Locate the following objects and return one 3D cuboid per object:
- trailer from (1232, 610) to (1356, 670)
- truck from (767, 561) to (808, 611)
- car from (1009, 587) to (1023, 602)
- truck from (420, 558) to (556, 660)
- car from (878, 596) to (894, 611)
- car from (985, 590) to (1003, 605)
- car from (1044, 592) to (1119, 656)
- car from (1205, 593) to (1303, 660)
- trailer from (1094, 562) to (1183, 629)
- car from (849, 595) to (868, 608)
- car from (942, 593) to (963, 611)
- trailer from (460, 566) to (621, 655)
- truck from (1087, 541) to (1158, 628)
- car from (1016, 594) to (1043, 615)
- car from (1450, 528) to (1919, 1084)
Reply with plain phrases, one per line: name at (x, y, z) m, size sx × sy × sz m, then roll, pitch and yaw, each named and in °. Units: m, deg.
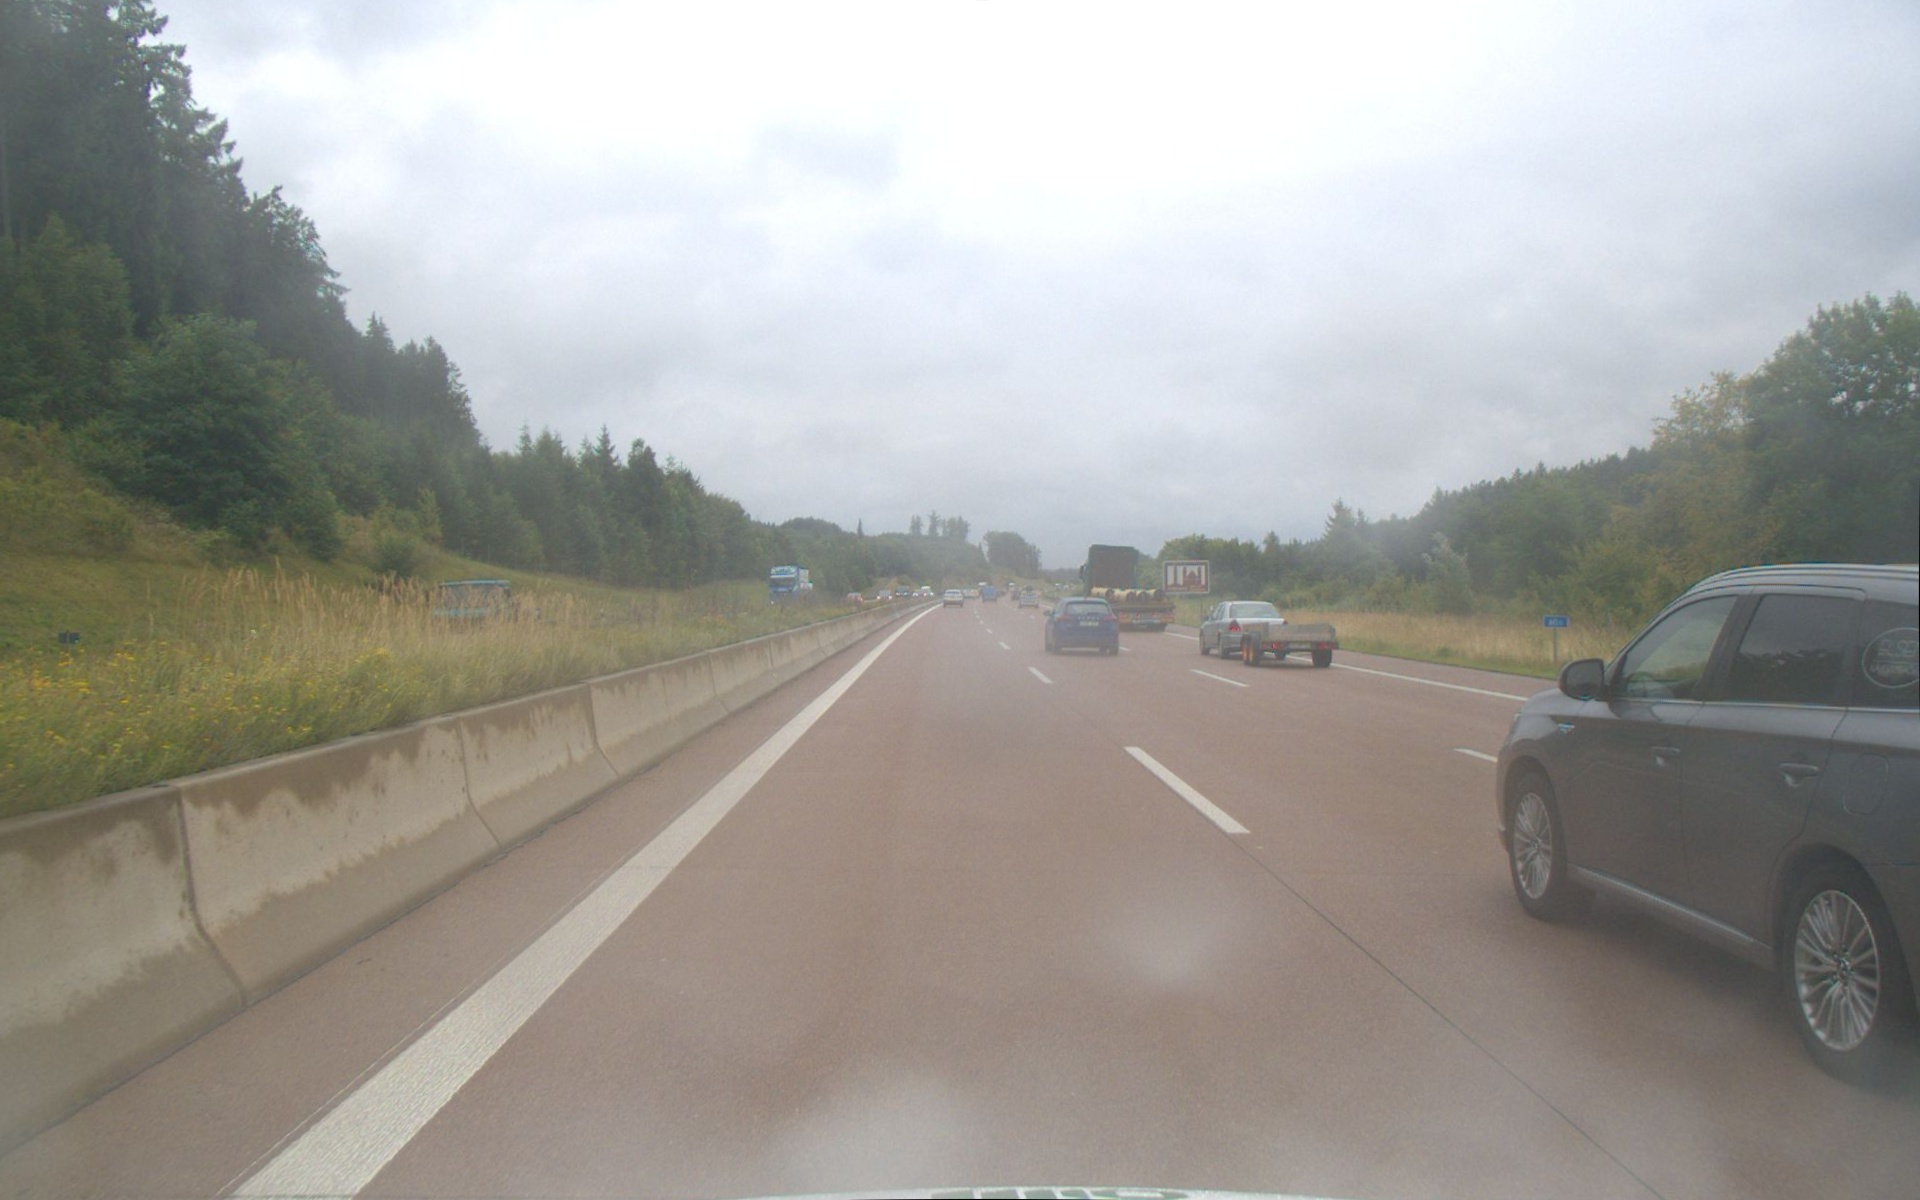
trailer at (7.617, 0.880, 38.176) m, size 1.931 × 1.187 × 4.639 m, roll 1°, pitch 1°, yaw 0°
truck at (-15.966, -1.363, 153.591) m, size 2.904 × 4.394 × 7.648 m, roll -4°, pitch 1°, yaw -1°
car at (8.036, -0.810, 238.274) m, size 1.952 × 2.049 × 4.000 m, roll 1°, pitch -1°, yaw 0°
truck at (-16.035, 0.333, 56.683) m, size 2.805 × 3.228 × 6.493 m, roll 1°, pitch -1°, yaw -1°
car at (-9.124, 0.451, 205.493) m, size 1.781 × 1.874 × 6.236 m, roll 1°, pitch -1°, yaw -1°
car at (4.320, -0.272, 210.436) m, size 2.274 × 1.780 × 4.877 m, roll 1°, pitch -1°, yaw 1°
car at (3.172, 0.631, 43.831) m, size 1.735 × 1.591 × 4.146 m, roll 1°, pitch -1°, yaw 1°
car at (7.556, 0.668, 42.898) m, size 1.663 × 1.640 × 4.976 m, roll 0°, pitch -1°, yaw 0°
trailer at (7.824, -0.117, 73.849) m, size 2.822 × 2.722 × 11.398 m, roll 1°, pitch -1°, yaw 1°
car at (-11.274, 0.200, 184.161) m, size 1.781 × 1.393 × 5.113 m, roll 1°, pitch -1°, yaw -1°
car at (-0.662, 0.157, 151.657) m, size 1.835 × 1.469 × 4.878 m, roll 1°, pitch 1°, yaw 1°
trailer at (-16.114, 0.458, 64.894) m, size 2.781 × 3.050 × 14.431 m, roll 1°, pitch -1°, yaw -1°
truck at (7.936, -0.673, 81.526) m, size 2.837 × 4.034 × 6.988 m, roll 1°, pitch -1°, yaw 0°
car at (6.366, 0.417, 151.681) m, size 2.274 × 1.780 × 4.877 m, roll 1°, pitch -1°, yaw 1°
car at (3.755, 0.635, 6.266) m, size 1.953 × 1.620 × 5.818 m, roll 1°, pitch -1°, yaw -1°
